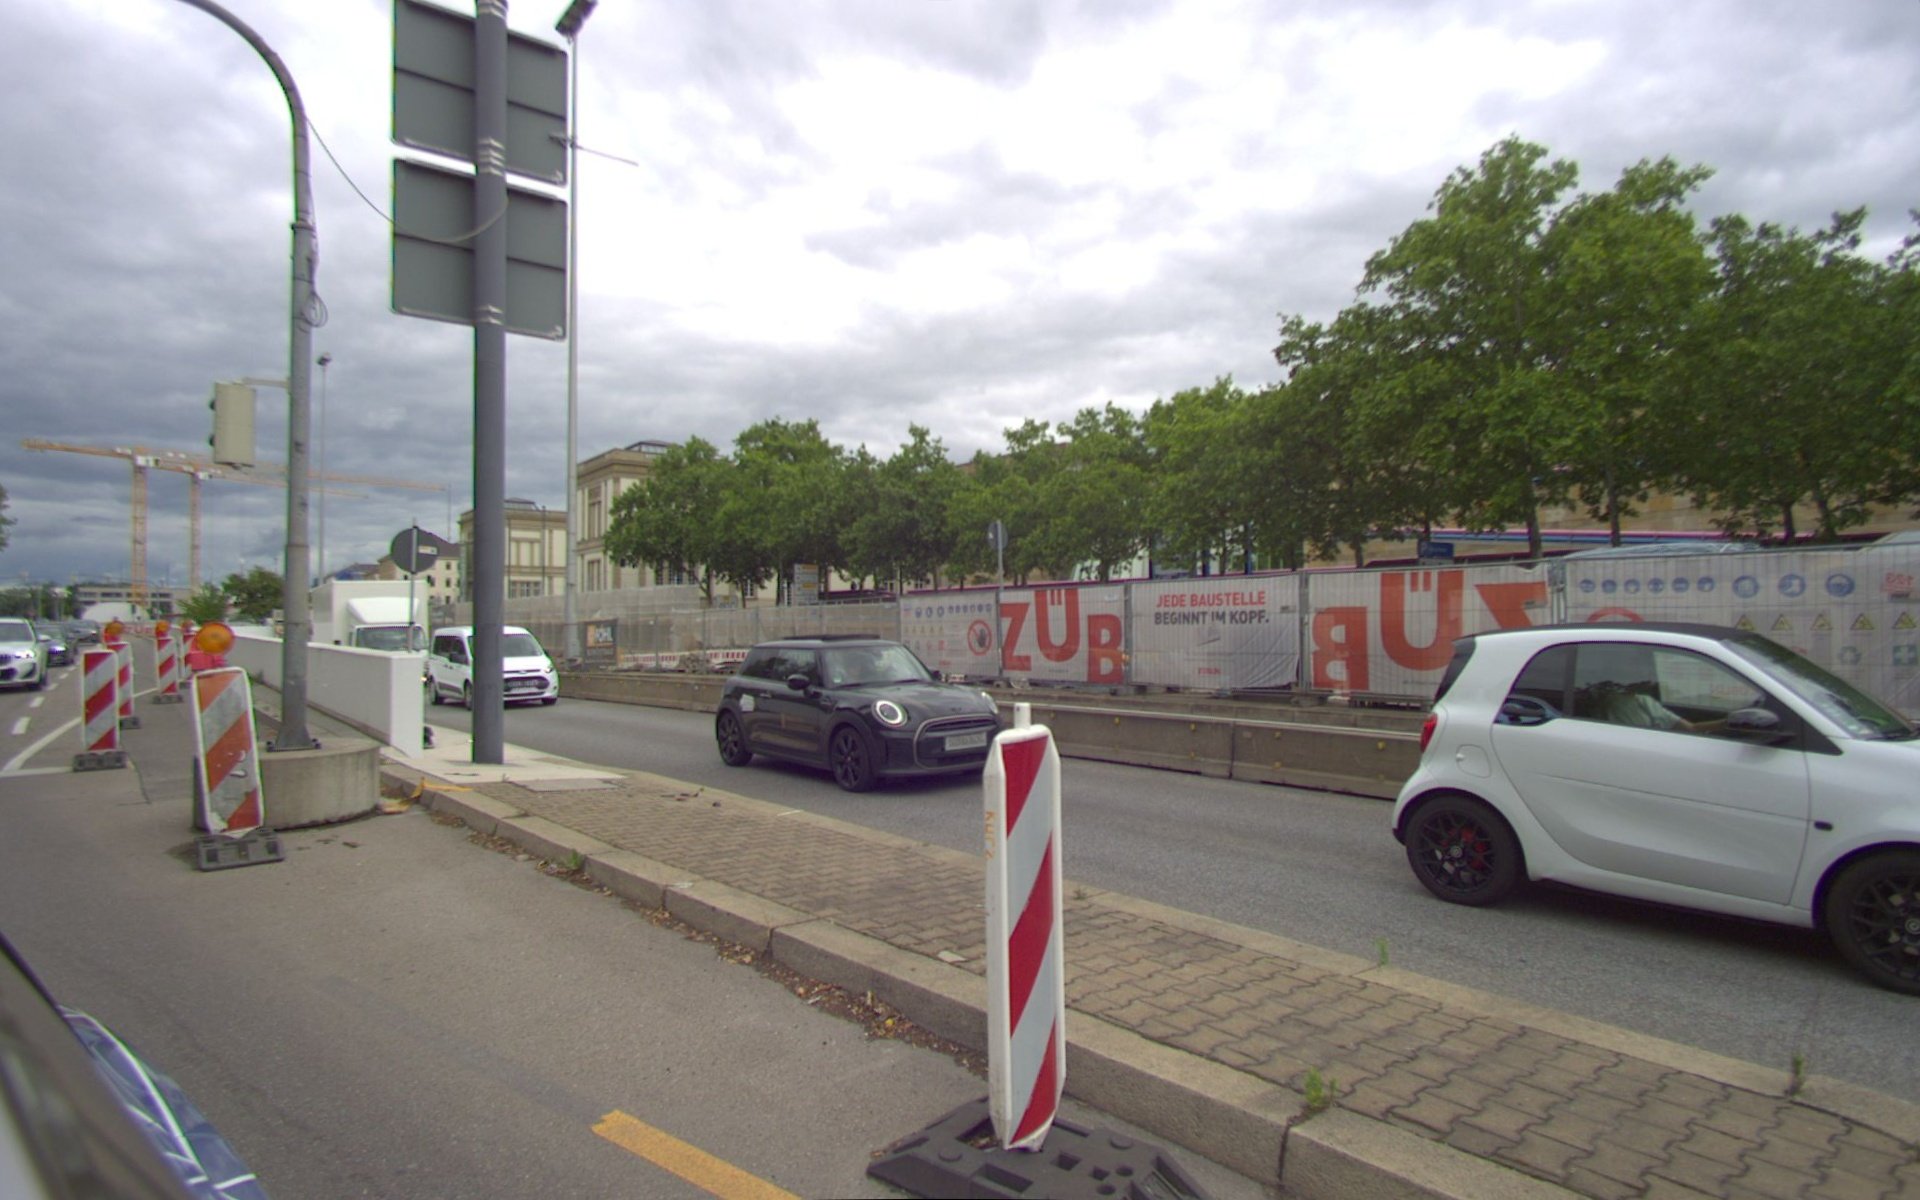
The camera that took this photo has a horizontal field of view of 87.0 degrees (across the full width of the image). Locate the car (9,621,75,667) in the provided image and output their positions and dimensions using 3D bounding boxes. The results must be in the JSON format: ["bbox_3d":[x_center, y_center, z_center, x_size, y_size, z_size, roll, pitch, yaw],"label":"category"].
[{"bbox_3d":[-31.922,1.483,35.254,1.588,1.484,3.627,0,-1,-41],"label":"car"}]

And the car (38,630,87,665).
[{"bbox_3d":[-40.507,2.102,45.711,1.588,1.484,3.627,0,-1,-41],"label":"car"}]

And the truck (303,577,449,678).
[{"bbox_3d":[-18.536,0.851,31.895,2.932,2.795,7.269,1,-2,-38],"label":"truck"}]

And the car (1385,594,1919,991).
[{"bbox_3d":[3.980,0.770,5.056,1.609,1.566,3.007,-1,0,-40],"label":"car"}]

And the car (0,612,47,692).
[{"bbox_3d":[-21.678,1.101,22.578,1.828,1.640,4.914,-1,0,-41],"label":"car"}]

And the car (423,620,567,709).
[{"bbox_3d":[-10.448,1.348,22.573,1.814,1.774,4.488,1,-2,-40],"label":"car"}]

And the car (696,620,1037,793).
[{"bbox_3d":[-1.161,0.957,10.725,1.627,1.450,3.941,-1,0,-40],"label":"car"}]
